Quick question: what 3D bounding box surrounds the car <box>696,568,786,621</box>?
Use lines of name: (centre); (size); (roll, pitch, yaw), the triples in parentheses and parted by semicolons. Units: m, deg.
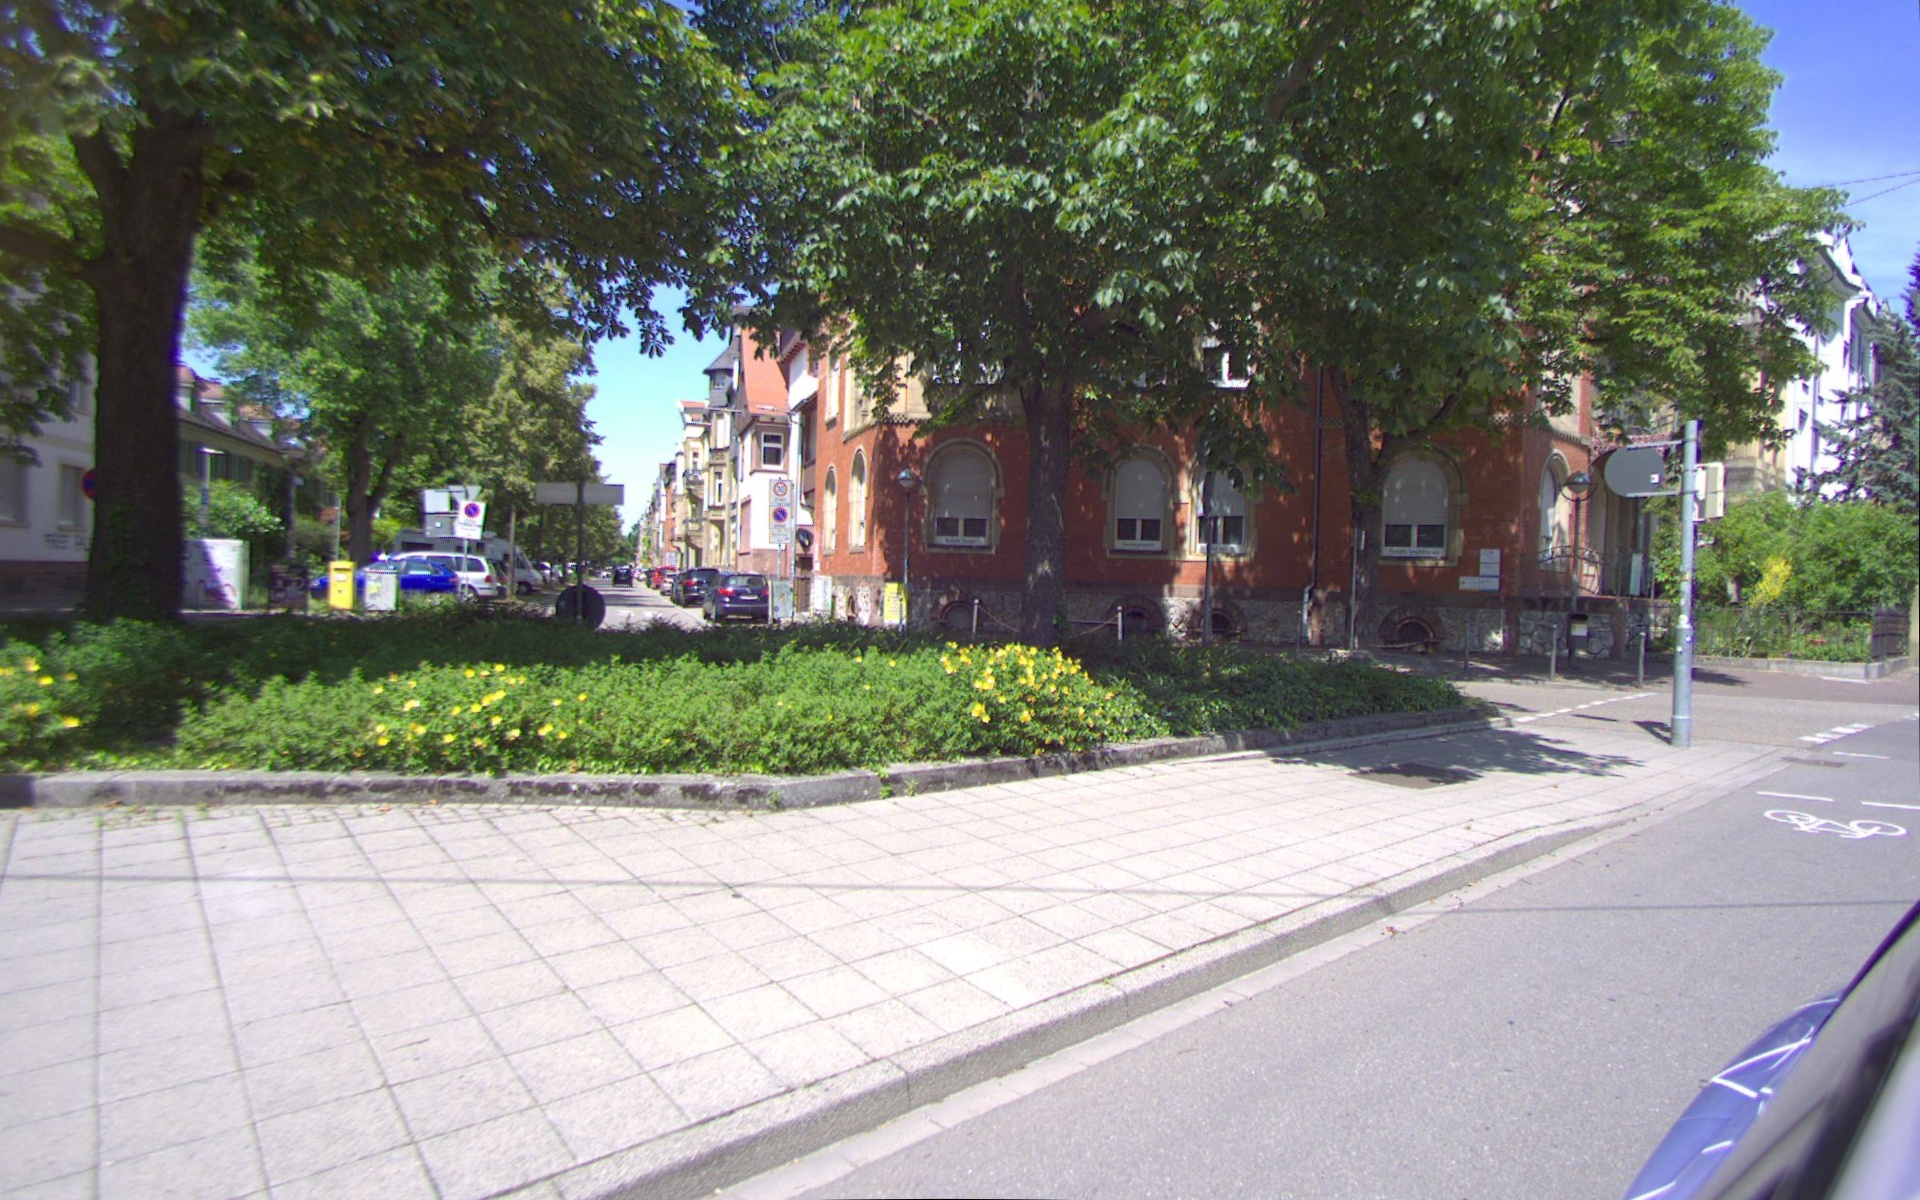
car: (-6.667, -0.204, 30.434); (1.865, 1.459, 4.769); (1, 1, -22)

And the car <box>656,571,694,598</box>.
car: (-17.978, -0.988, 63.713); (1.865, 1.575, 4.411); (1, 1, -22)

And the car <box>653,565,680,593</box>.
car: (-22.367, -1.585, 77.121); (1.868, 2.039, 4.009); (1, 1, -17)

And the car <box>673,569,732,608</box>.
car: (-11.193, -0.531, 43.729); (1.946, 1.551, 5.502); (1, 1, -20)

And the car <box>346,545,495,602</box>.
car: (-17.877, -0.863, 33.765); (4.176, 1.673, 1.731); (2, 0, -22)

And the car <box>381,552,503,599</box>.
car: (-20.744, -0.976, 40.744); (4.176, 1.673, 1.731); (2, 0, -22)

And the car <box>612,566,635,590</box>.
car: (-29.003, -1.917, 87.337); (1.777, 2.039, 3.676); (1, 1, -17)

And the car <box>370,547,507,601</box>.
car: (-18.617, -0.912, 36.320); (4.176, 1.673, 1.731); (2, 0, -22)

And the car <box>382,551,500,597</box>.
car: (-21.636, -1.068, 42.361); (4.176, 1.673, 1.731); (2, 0, -22)

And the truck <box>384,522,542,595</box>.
truck: (-24.303, -1.982, 49.837); (6.685, 3.193, 1.939); (2, 0, -21)

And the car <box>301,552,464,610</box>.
car: (-16.409, -0.520, 28.967); (3.807, 1.447, 1.731); (2, 0, -22)
